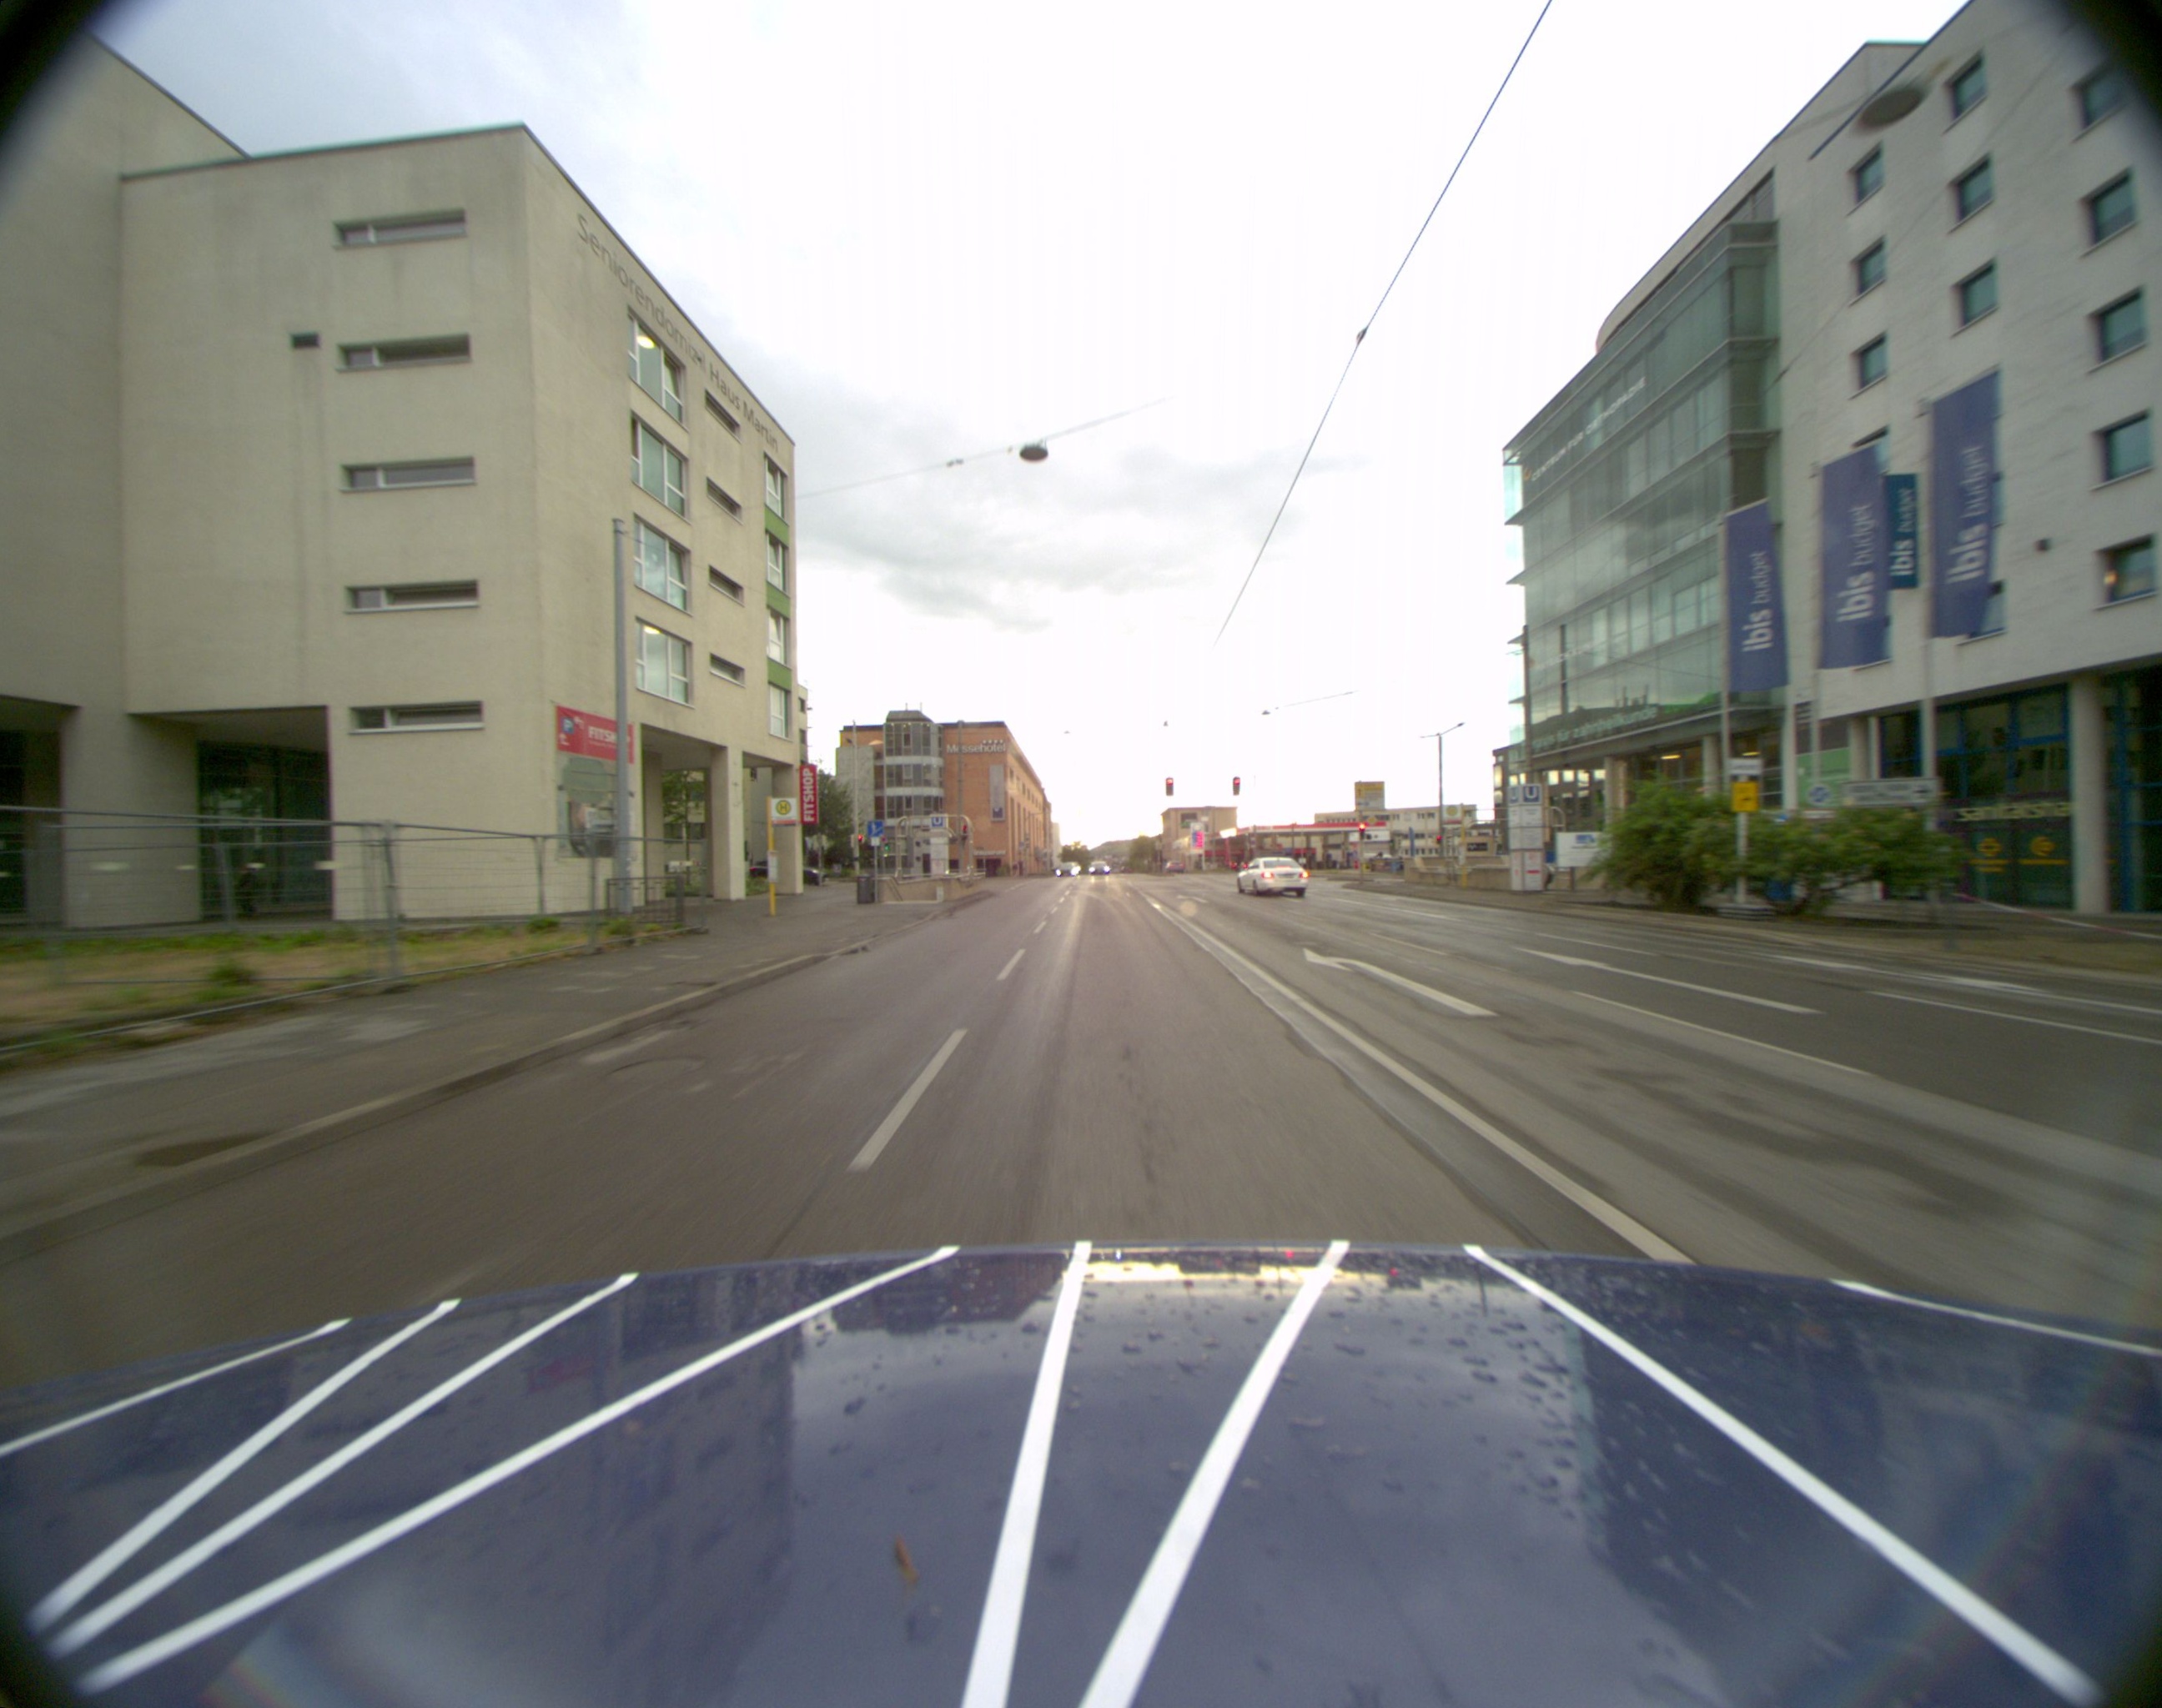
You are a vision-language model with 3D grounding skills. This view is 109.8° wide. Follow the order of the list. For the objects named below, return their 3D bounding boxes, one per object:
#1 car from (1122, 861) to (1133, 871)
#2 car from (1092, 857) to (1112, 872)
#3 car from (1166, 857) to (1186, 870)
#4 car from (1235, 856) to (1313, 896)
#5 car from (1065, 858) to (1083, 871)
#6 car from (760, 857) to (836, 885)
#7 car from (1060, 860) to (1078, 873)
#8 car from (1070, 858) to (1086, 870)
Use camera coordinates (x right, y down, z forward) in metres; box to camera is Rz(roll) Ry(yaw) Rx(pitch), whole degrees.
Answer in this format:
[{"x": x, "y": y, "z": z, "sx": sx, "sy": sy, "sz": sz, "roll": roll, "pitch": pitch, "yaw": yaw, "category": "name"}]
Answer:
[{"x": 8.712, "y": 2.247, "z": 142.623, "sx": 1.857, "sy": 1.758, "sz": 4.131, "roll": 1, "pitch": 0, "yaw": 1, "category": "car"}, {"x": 2.180, "y": 1.088, "z": 79.567, "sx": 1.964, "sy": 1.516, "sz": 4.262, "roll": -2, "pitch": 0, "yaw": 1, "category": "car"}, {"x": 12.274, "y": 1.167, "z": 98.288, "sx": 1.913, "sy": 1.622, "sz": 4.209, "roll": -1, "pitch": 0, "yaw": -2, "category": "car"}, {"x": 7.447, "y": 0.808, "z": 29.802, "sx": 1.822, "sy": 1.379, "sz": 4.963, "roll": -1, "pitch": 0, "yaw": 0, "category": "car"}, {"x": -0.775, "y": 1.196, "z": 85.822, "sx": 1.696, "sy": 1.392, "sz": 4.089, "roll": -2, "pitch": 0, "yaw": 3, "category": "car"}, {"x": -17.824, "y": 1.037, "z": 48.012, "sx": 3.996, "sy": 1.565, "sz": 2.000, "roll": 1, "pitch": 2, "yaw": 4, "category": "car"}, {"x": -1.229, "y": 1.267, "z": 78.361, "sx": 1.649, "sy": 1.313, "sz": 4.000, "roll": -2, "pitch": 0, "yaw": 1, "category": "car"}, {"x": -0.337, "y": 1.201, "z": 92.785, "sx": 1.696, "sy": 1.392, "sz": 4.089, "roll": -2, "pitch": 0, "yaw": 3, "category": "car"}]
